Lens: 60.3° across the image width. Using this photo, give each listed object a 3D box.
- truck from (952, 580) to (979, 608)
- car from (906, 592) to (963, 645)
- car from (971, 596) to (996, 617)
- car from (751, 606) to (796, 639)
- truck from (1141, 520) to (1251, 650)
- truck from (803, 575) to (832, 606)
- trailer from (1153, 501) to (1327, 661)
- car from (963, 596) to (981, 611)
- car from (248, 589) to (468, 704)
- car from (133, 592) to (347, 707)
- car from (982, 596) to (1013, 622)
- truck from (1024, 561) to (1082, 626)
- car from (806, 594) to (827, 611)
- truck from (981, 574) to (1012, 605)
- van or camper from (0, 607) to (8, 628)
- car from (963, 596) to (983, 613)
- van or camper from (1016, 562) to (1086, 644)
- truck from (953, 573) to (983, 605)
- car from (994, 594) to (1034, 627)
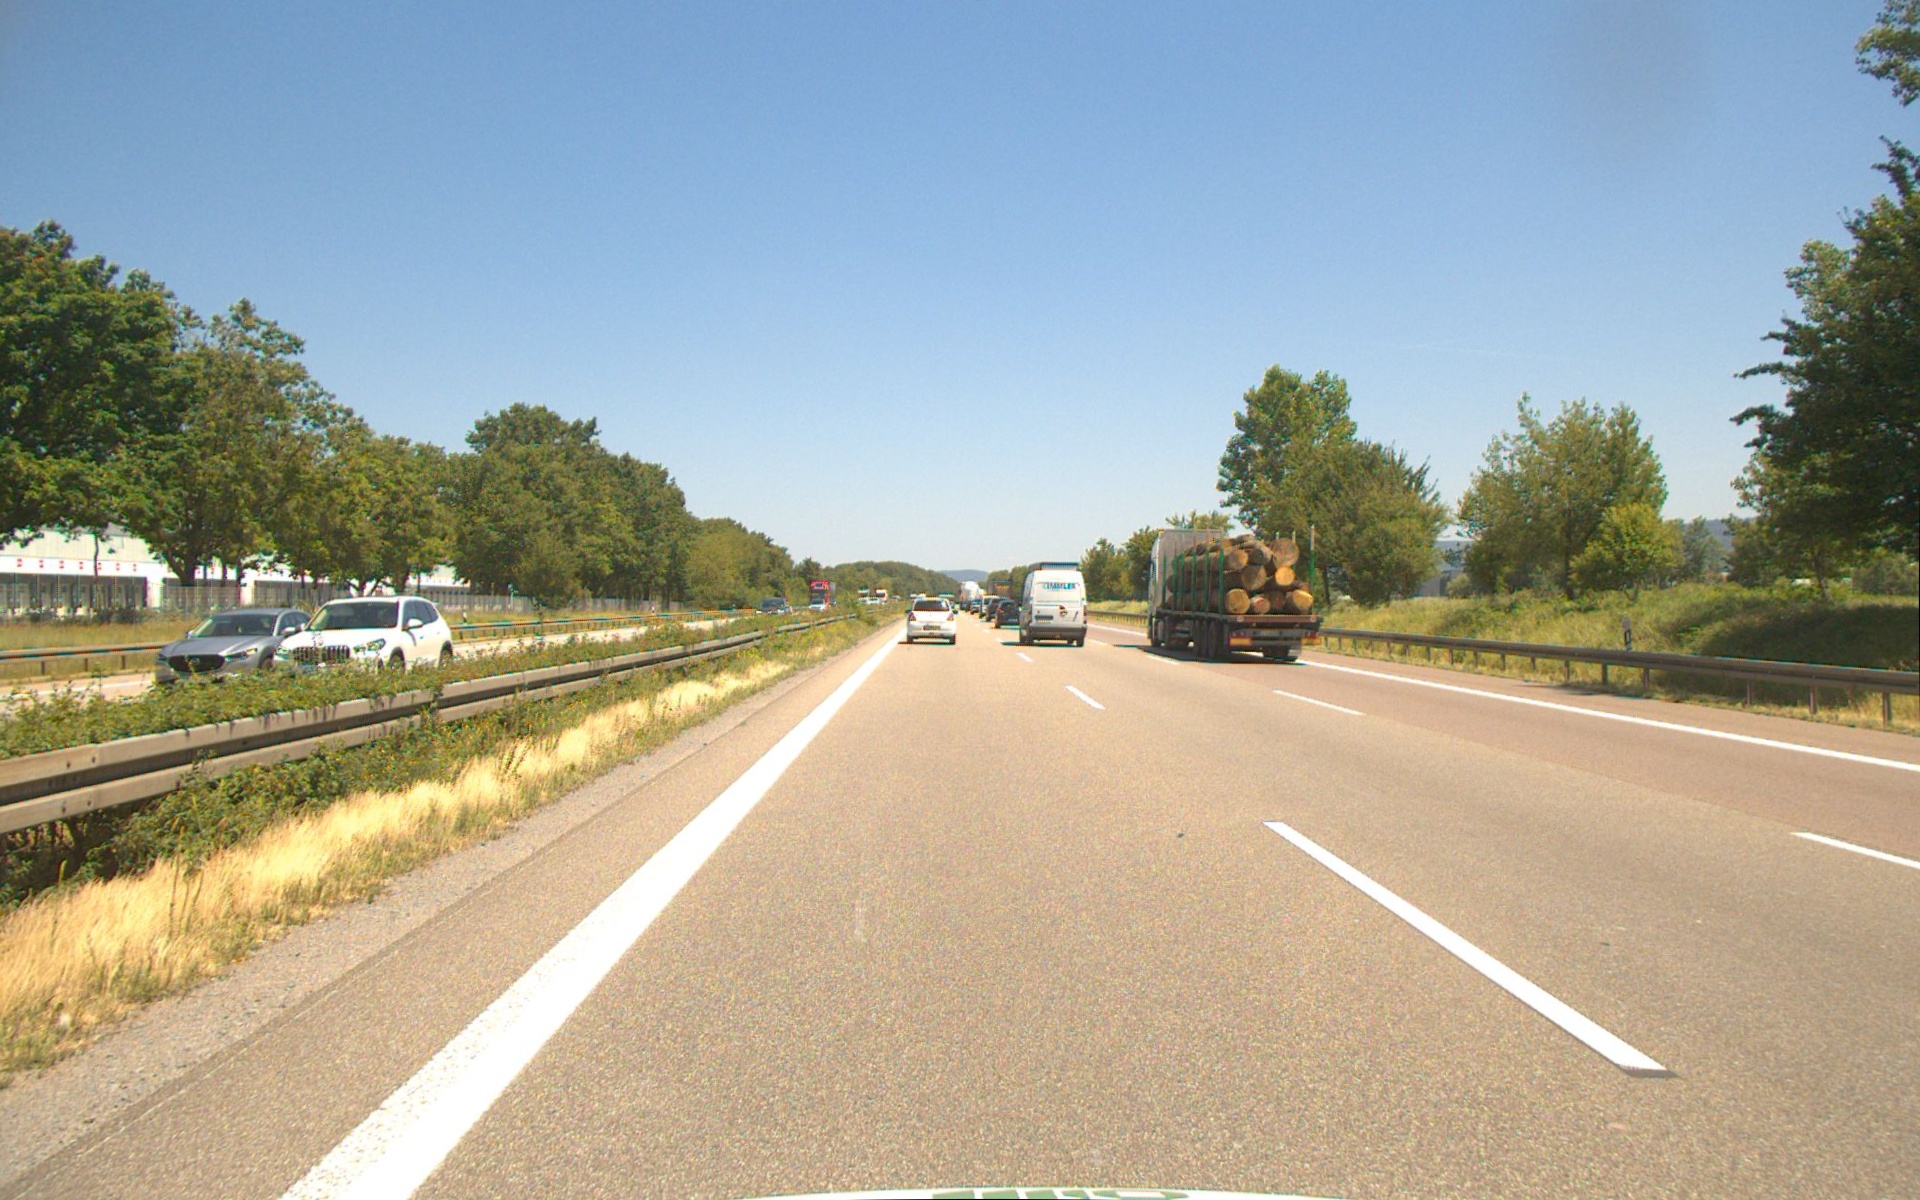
[{"bbox_3d":[0.879,-0.948,263.002,3.193,4.282,16.832,2,0,-3],"label":"truck"},{"bbox_3d":[-0.898,0.598,56.378,1.820,1.681,3.998,2,0,-2],"label":"car"},{"bbox_3d":[1.896,0.498,134.931,1.820,1.681,3.998,1,0,-2],"label":"car"},{"bbox_3d":[-10.420,1.221,92.588,1.953,1.668,4.858,-4,0,-1],"label":"car"},{"bbox_3d":[7.829,-0.479,55.702,2.615,4.064,6.635,1,0,-1],"label":"truck"},{"bbox_3d":[-19.138,-1.288,222.230,3.369,3.999,6.220,-2,0,-1],"label":"truck"},{"bbox_3d":[7.913,-0.502,48.865,2.599,4.028,13.634,1,0,-1],"label":"trailer"},{"bbox_3d":[1.352,0.426,191.495,1.820,1.681,3.998,1,0,-2],"label":"car"},{"bbox_3d":[-9.749,0.696,27.197,1.953,1.668,4.571,2,0,-1],"label":"car"},{"bbox_3d":[-12.579,0.807,29.227,1.834,1.825,4.423,2,0,-1],"label":"car"},{"bbox_3d":[2.544,0.599,113.145,1.820,1.681,3.998,1,0,-2],"label":"car"},{"bbox_3d":[6.519,-0.423,118.711,3.016,4.282,16.841,2,0,0],"label":"truck"},{"bbox_3d":[-15.339,0.229,177.370,1.808,1.711,4.813,-2,0,-1],"label":"car"},{"bbox_3d":[5.178,-1.462,239.045,3.193,4.282,16.832,2,0,-3],"label":"truck"},{"bbox_3d":[-79.969,1.476,134.665,1.953,1.681,5.019,-1,0,-1],"label":"van or camper"},{"bbox_3d":[1.316,0.411,166.729,1.820,1.681,3.998,1,0,-2],"label":"car"},{"bbox_3d":[3.101,0.104,57.617,2.016,2.668,5.984,1,0,-1],"label":"van or camper"},{"bbox_3d":[1.028,-1.474,231.068,3.193,4.282,16.832,2,0,-3],"label":"truck"},{"bbox_3d":[2.862,0.558,88.343,1.820,1.681,3.998,1,0,-2],"label":"car"}]
